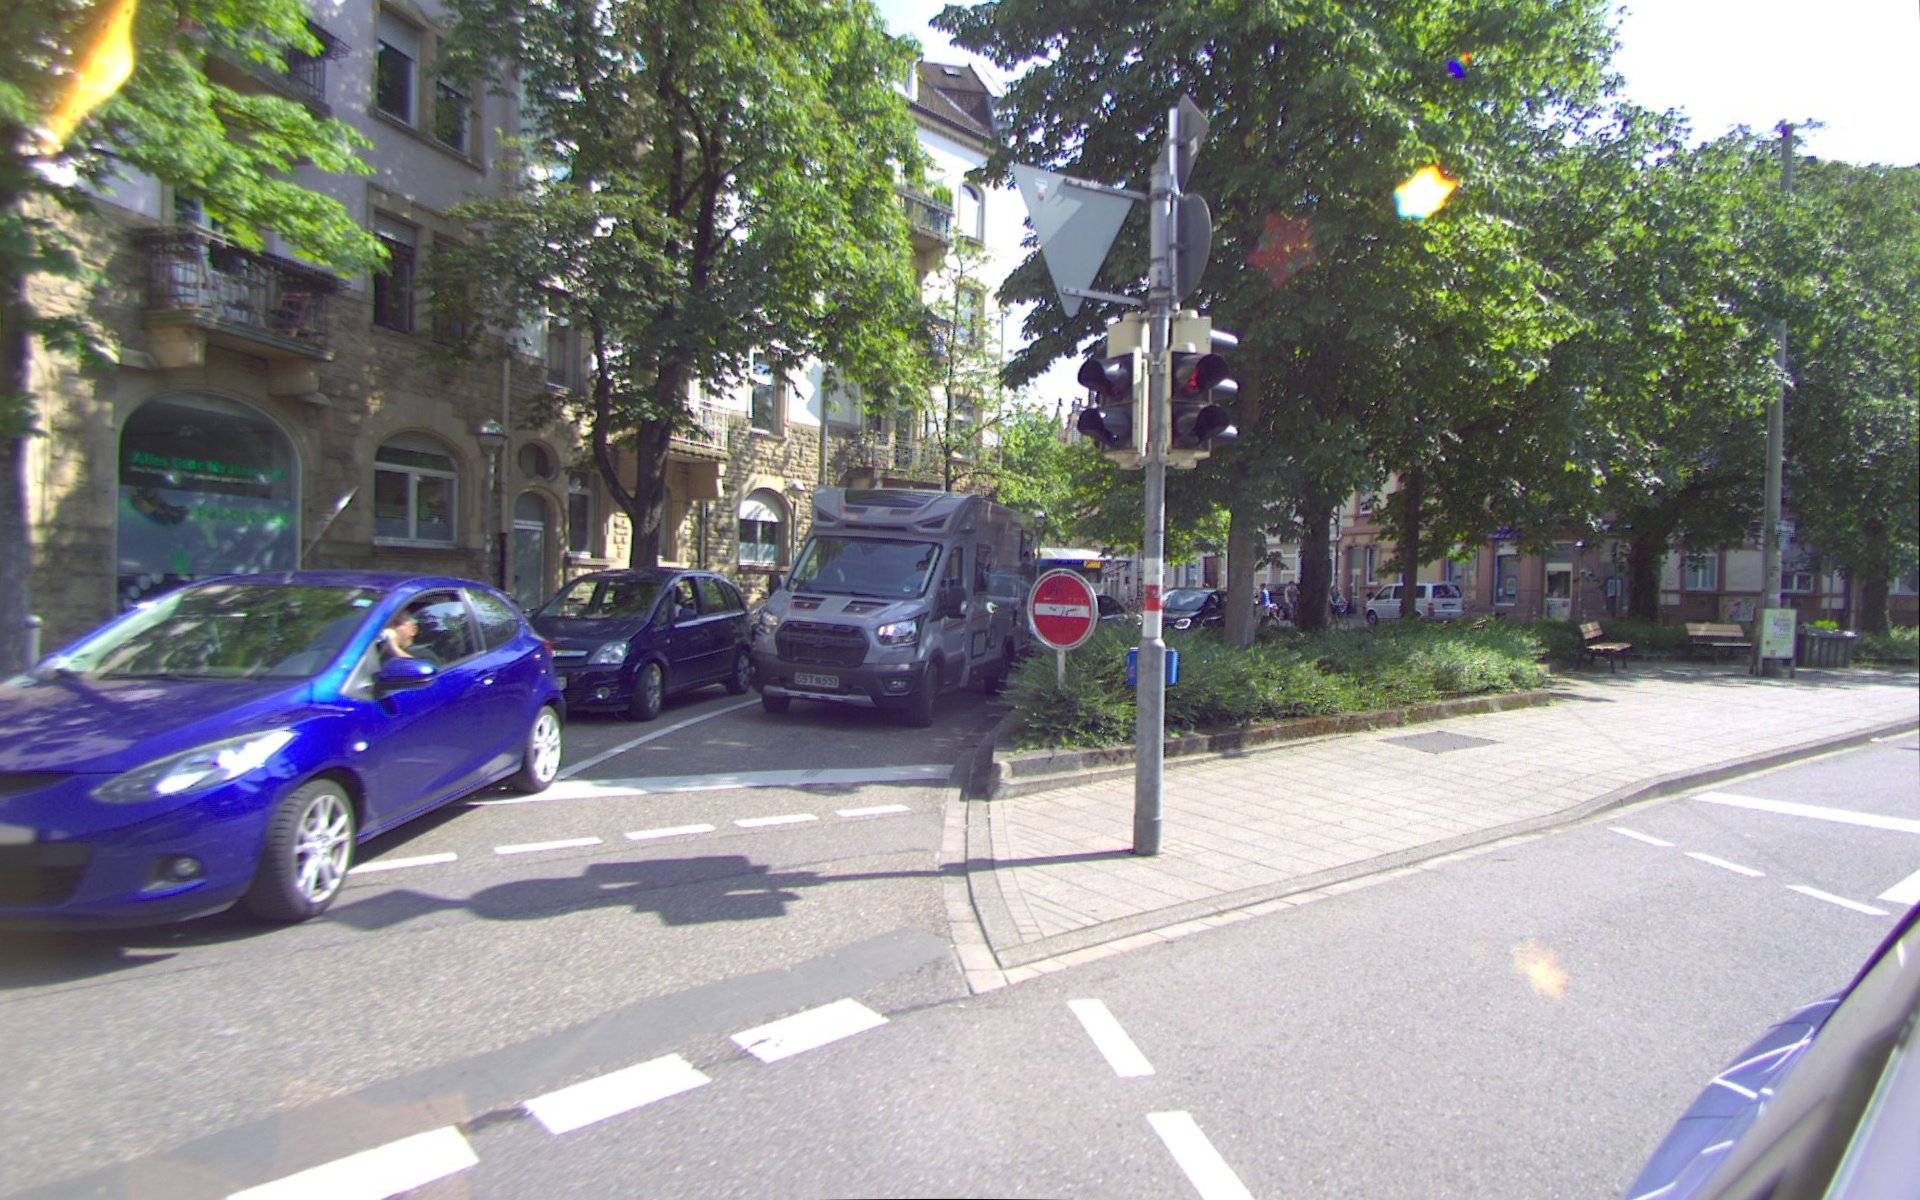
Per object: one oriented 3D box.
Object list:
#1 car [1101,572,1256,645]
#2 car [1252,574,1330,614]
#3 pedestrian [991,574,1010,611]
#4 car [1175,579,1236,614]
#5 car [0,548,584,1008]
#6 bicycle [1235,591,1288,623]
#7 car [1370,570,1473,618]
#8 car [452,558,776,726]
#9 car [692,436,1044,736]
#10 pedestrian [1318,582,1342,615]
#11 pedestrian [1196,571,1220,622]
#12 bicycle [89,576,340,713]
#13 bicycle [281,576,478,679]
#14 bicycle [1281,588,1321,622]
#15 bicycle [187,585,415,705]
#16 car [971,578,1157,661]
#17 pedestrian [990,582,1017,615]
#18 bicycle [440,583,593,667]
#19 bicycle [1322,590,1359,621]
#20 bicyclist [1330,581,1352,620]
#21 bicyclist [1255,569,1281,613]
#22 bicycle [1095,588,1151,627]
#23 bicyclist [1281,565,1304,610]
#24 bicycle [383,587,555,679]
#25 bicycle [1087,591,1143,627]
[{"bbox_3d":[5.171,0.155,23.574,1.840,1.519,4.125,2,1,40],"label":"car"},{"bbox_3d":[17.653,-0.370,54.165,1.958,2.038,4.326,1,1,-13],"label":"car"},{"bbox_3d":[1.950,-0.367,48.520,0.669,1.761,0.848,1,1,-14],"label":"pedestrian"},{"bbox_3d":[15.289,-0.269,63.334,1.958,2.039,4.326,1,1,-13],"label":"car"},{"bbox_3d":[-3.571,0.494,5.170,1.856,1.436,4.001,1,1,-1],"label":"car"},{"bbox_3d":[9.891,0.217,33.206,0.514,1.018,1.684,0,0,-37],"label":"bicycle"},{"bbox_3d":[20.047,-0.304,44.140,1.799,2.011,4.326,0,2,-13],"label":"car"},{"bbox_3d":[-3.715,0.390,11.716,1.701,1.574,4.099,-1,0,12],"label":"car"},{"bbox_3d":[-0.702,-0.195,13.214,2.358,2.829,6.644,3,1,15],"label":"car"},{"bbox_3d":[19.807,-0.096,54.215,0.909,1.729,0.763,1,1,-8],"label":"pedestrian"},{"bbox_3d":[8.464,-0.124,34.538,0.524,1.721,0.561,0,-1,-37],"label":"pedestrian"},{"bbox_3d":[-7.155,0.421,9.767,1.934,1.225,0.588,2,-1,-1],"label":"bicycle"},{"bbox_3d":[-6.813,0.317,11.930,1.934,1.130,0.588,2,-1,-1],"label":"bicycle"},{"bbox_3d":[12.293,0.171,36.541,0.512,1.209,1.856,0,0,-11],"label":"bicycle"},{"bbox_3d":[-6.809,0.453,10.507,1.934,1.155,0.588,2,-1,-1],"label":"bicycle"},{"bbox_3d":[2.143,0.305,19.661,1.823,1.386,4.434,2,1,32],"label":"car"},{"bbox_3d":[1.630,-0.062,37.969,0.828,1.214,0.684,1,1,-14],"label":"pedestrian"},{"bbox_3d":[-6.421,0.353,14.717,1.934,1.130,0.588,2,-1,-1],"label":"bicycle"},{"bbox_3d":[13.921,0.199,37.085,0.512,1.129,1.667,0,0,-8],"label":"bicycle"},{"bbox_3d":[13.930,0.020,36.999,0.460,1.390,0.744,0,0,-6],"label":"bicyclist"},{"bbox_3d":[10.038,-0.299,33.001,0.473,1.422,0.634,0,-1,-37],"label":"bicyclist"},{"bbox_3d":[5.156,0.218,32.093,0.587,1.157,1.979,1,1,-31],"label":"bicycle"},{"bbox_3d":[12.192,-0.443,37.158,0.496,1.619,0.701,3,-1,-6],"label":"bicyclist"},{"bbox_3d":[-6.444,0.424,13.338,1.934,1.130,0.588,2,-1,-1],"label":"bicycle"},{"bbox_3d":[4.801,0.261,31.499,0.587,1.044,1.979,1,1,-31],"label":"bicycle"}]
